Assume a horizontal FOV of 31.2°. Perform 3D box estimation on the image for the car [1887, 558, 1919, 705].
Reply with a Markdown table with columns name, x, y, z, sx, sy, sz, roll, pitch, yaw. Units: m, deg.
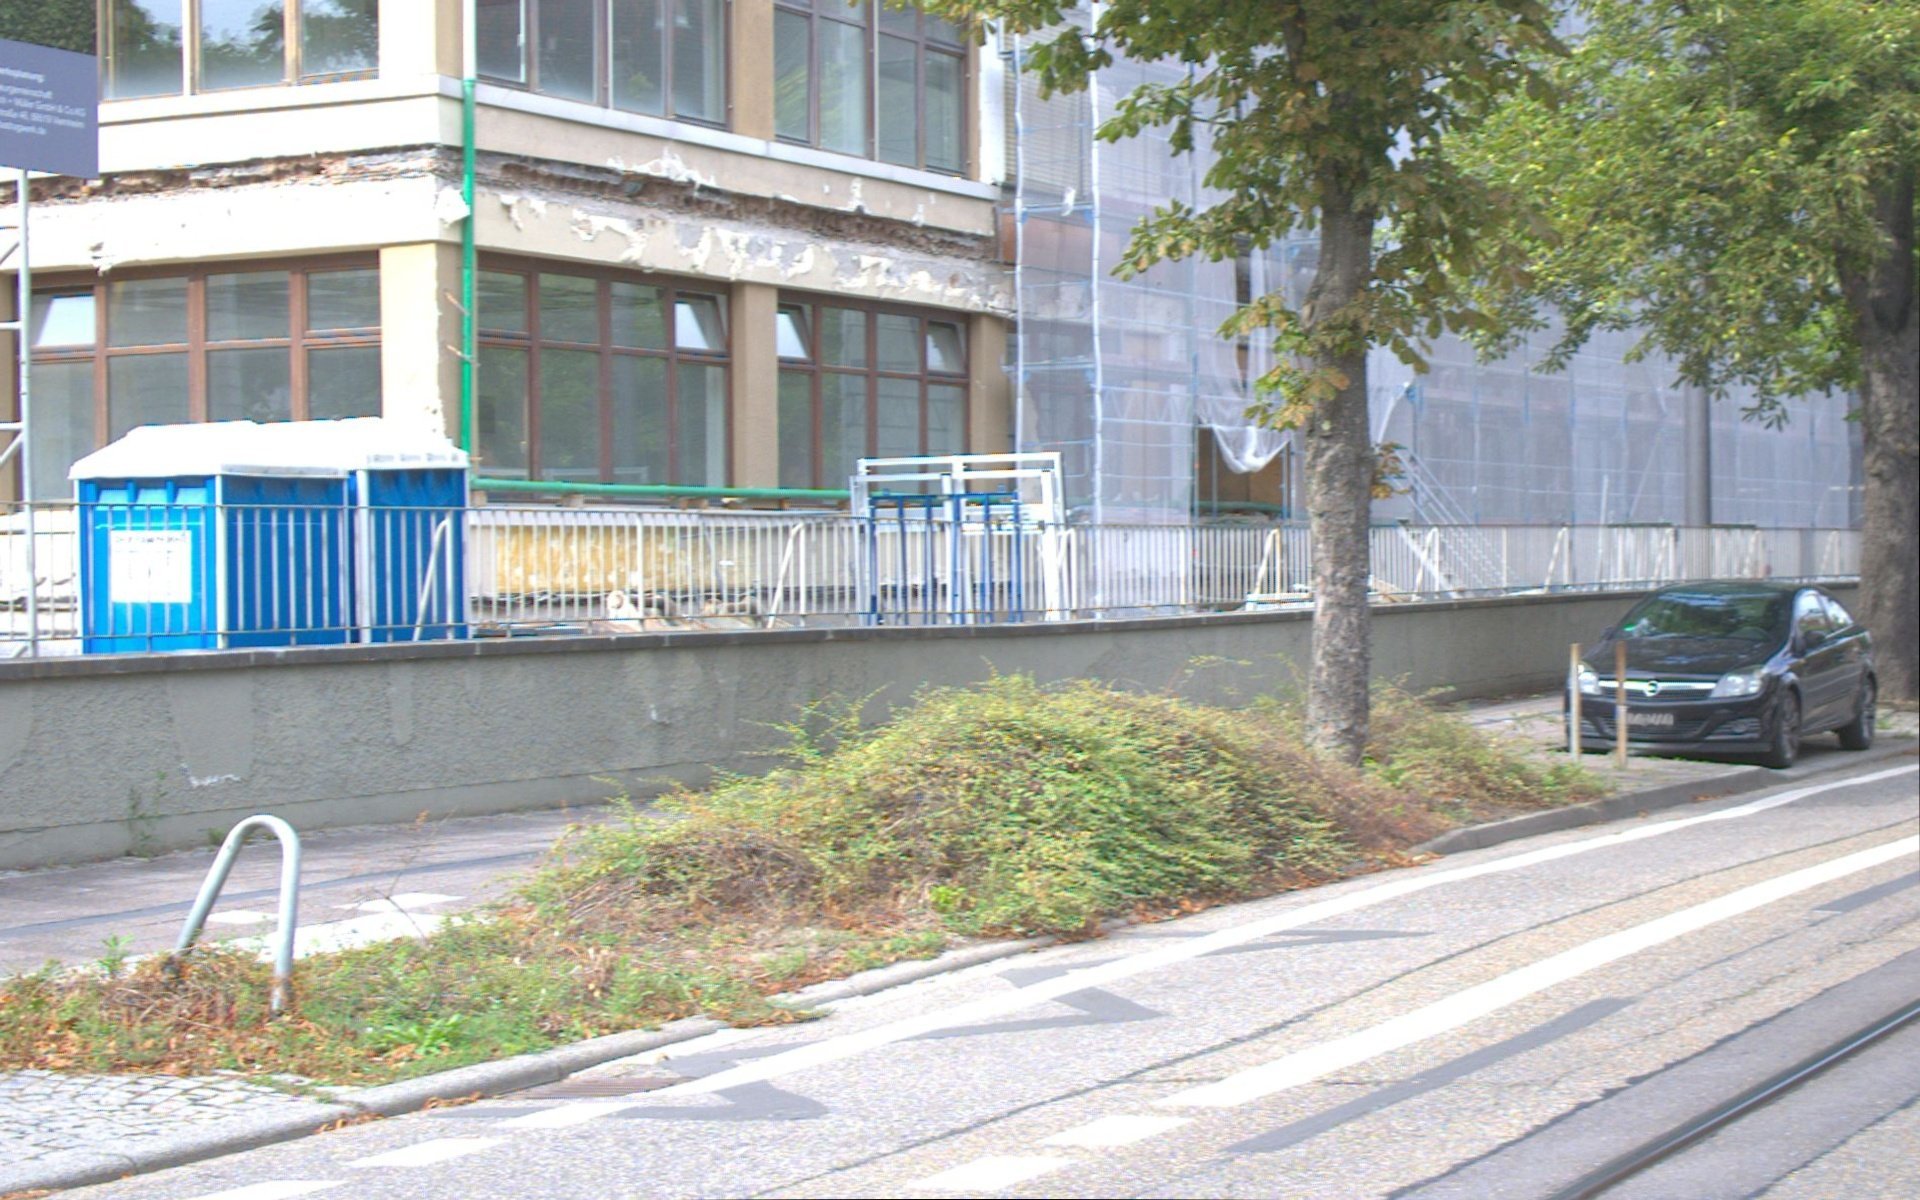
| name | x | y | z | sx | sy | sz | roll | pitch | yaw |
| --- | --- | --- | --- | --- | --- | --- | --- | --- | --- |
| car | 11.095 | 0.297 | 36.604 | 1.638 | 1.491 | 3.957 | 0 | 1 | 26 |

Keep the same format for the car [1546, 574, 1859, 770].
| name | x | y | z | sx | sy | sz | roll | pitch | yaw |
| --- | --- | --- | --- | --- | --- | --- | --- | --- | --- |
| car | 5.969 | 0.513 | 27.333 | 1.592 | 1.398 | 3.957 | 0 | 1 | 25 |
